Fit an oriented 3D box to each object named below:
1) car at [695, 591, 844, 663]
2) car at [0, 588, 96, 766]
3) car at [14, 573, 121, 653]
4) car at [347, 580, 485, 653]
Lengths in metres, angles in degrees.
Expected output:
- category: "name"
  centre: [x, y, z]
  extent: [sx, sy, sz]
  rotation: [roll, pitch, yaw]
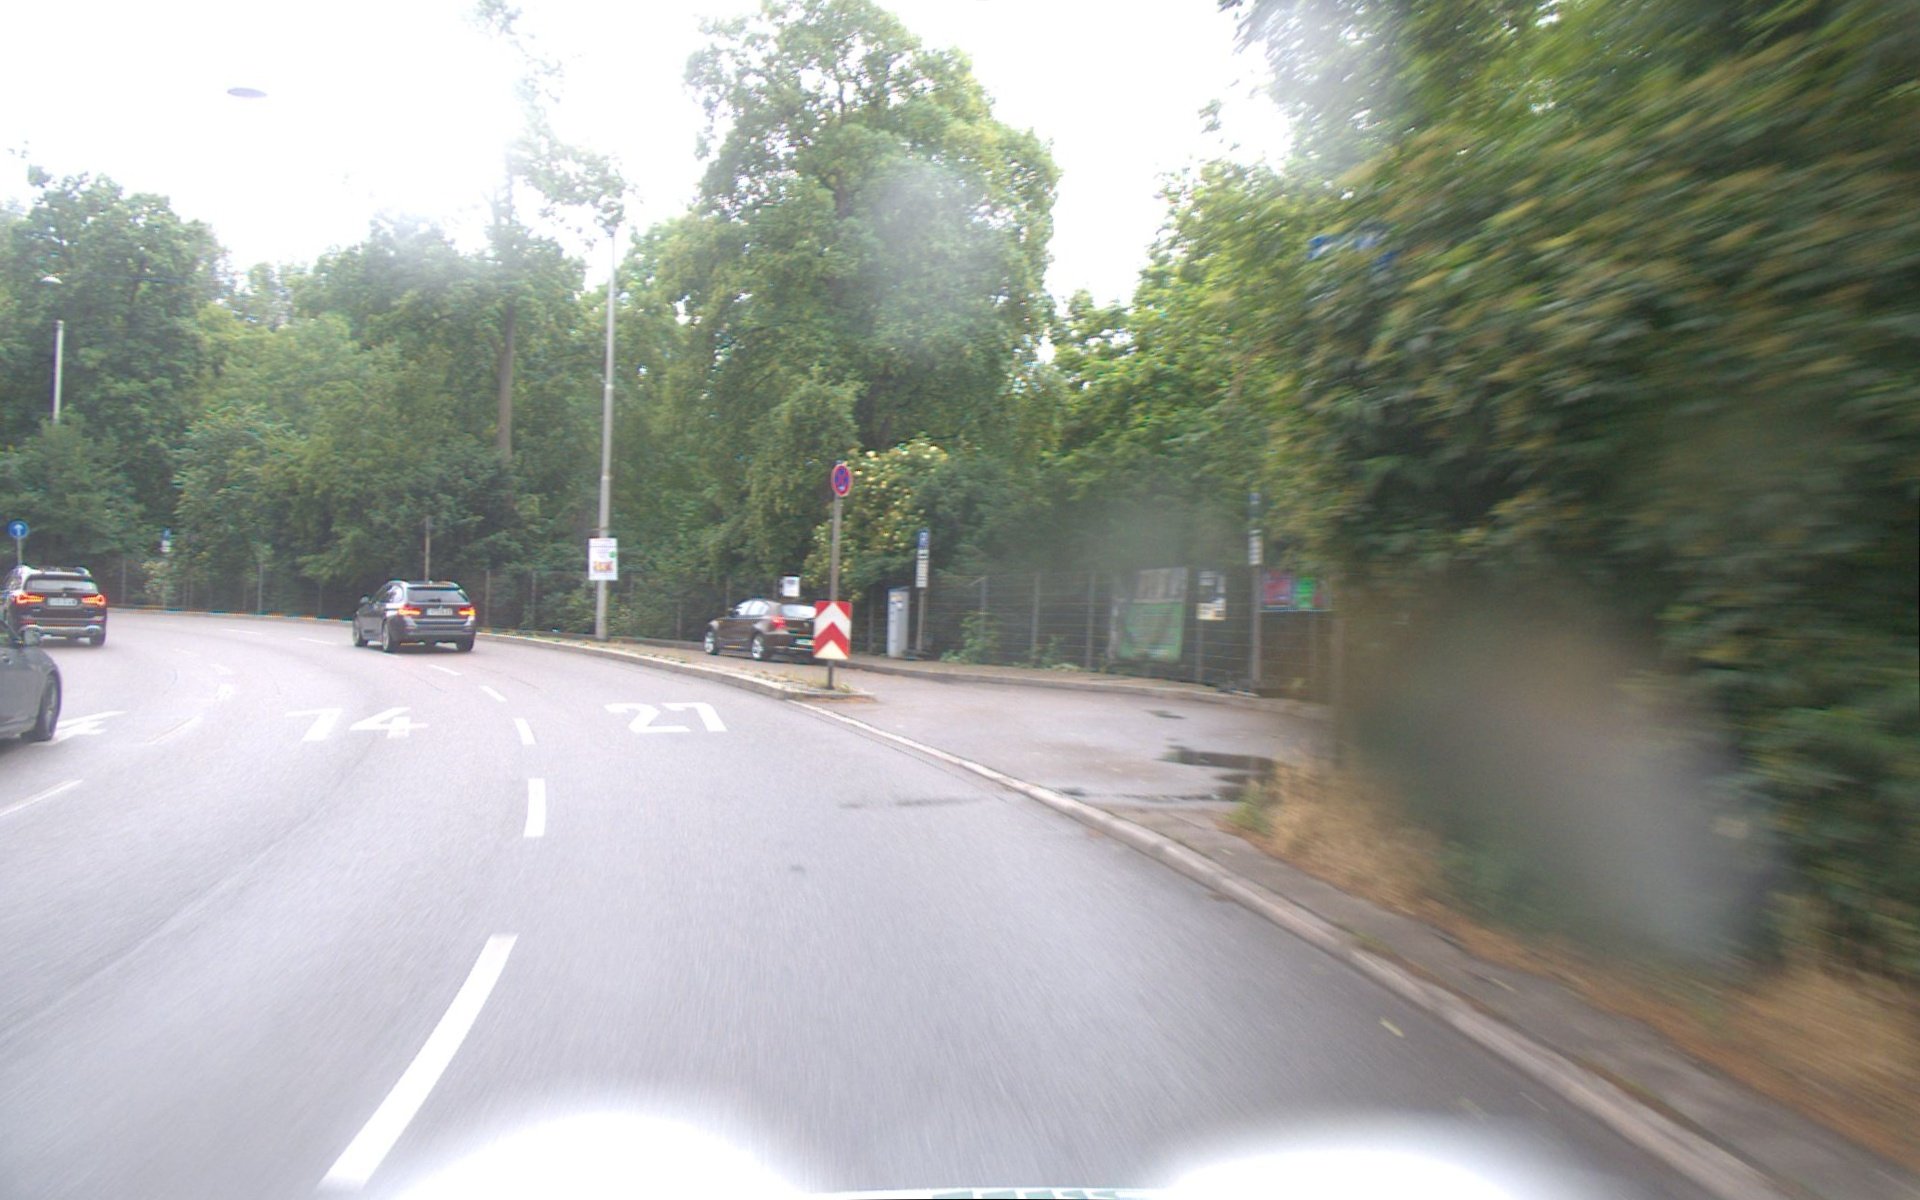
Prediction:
- category: "car"
  centre: [-4.566, 0.607, 39.147]
  extent: [1.672, 1.451, 4.321]
  rotation: [5, -1, -33]
- category: "car"
  centre: [-9.049, 0.654, 14.291]
  extent: [1.636, 1.439, 4.525]
  rotation: [2, 1, -13]
- category: "car"
  centre: [-19.418, 0.237, 36.124]
  extent: [1.735, 1.613, 4.379]
  rotation: [0, 1, -24]
- category: "car"
  centre: [-11.745, 0.366, 35.564]
  extent: [1.742, 1.457, 4.361]
  rotation: [-1, 0, -33]
